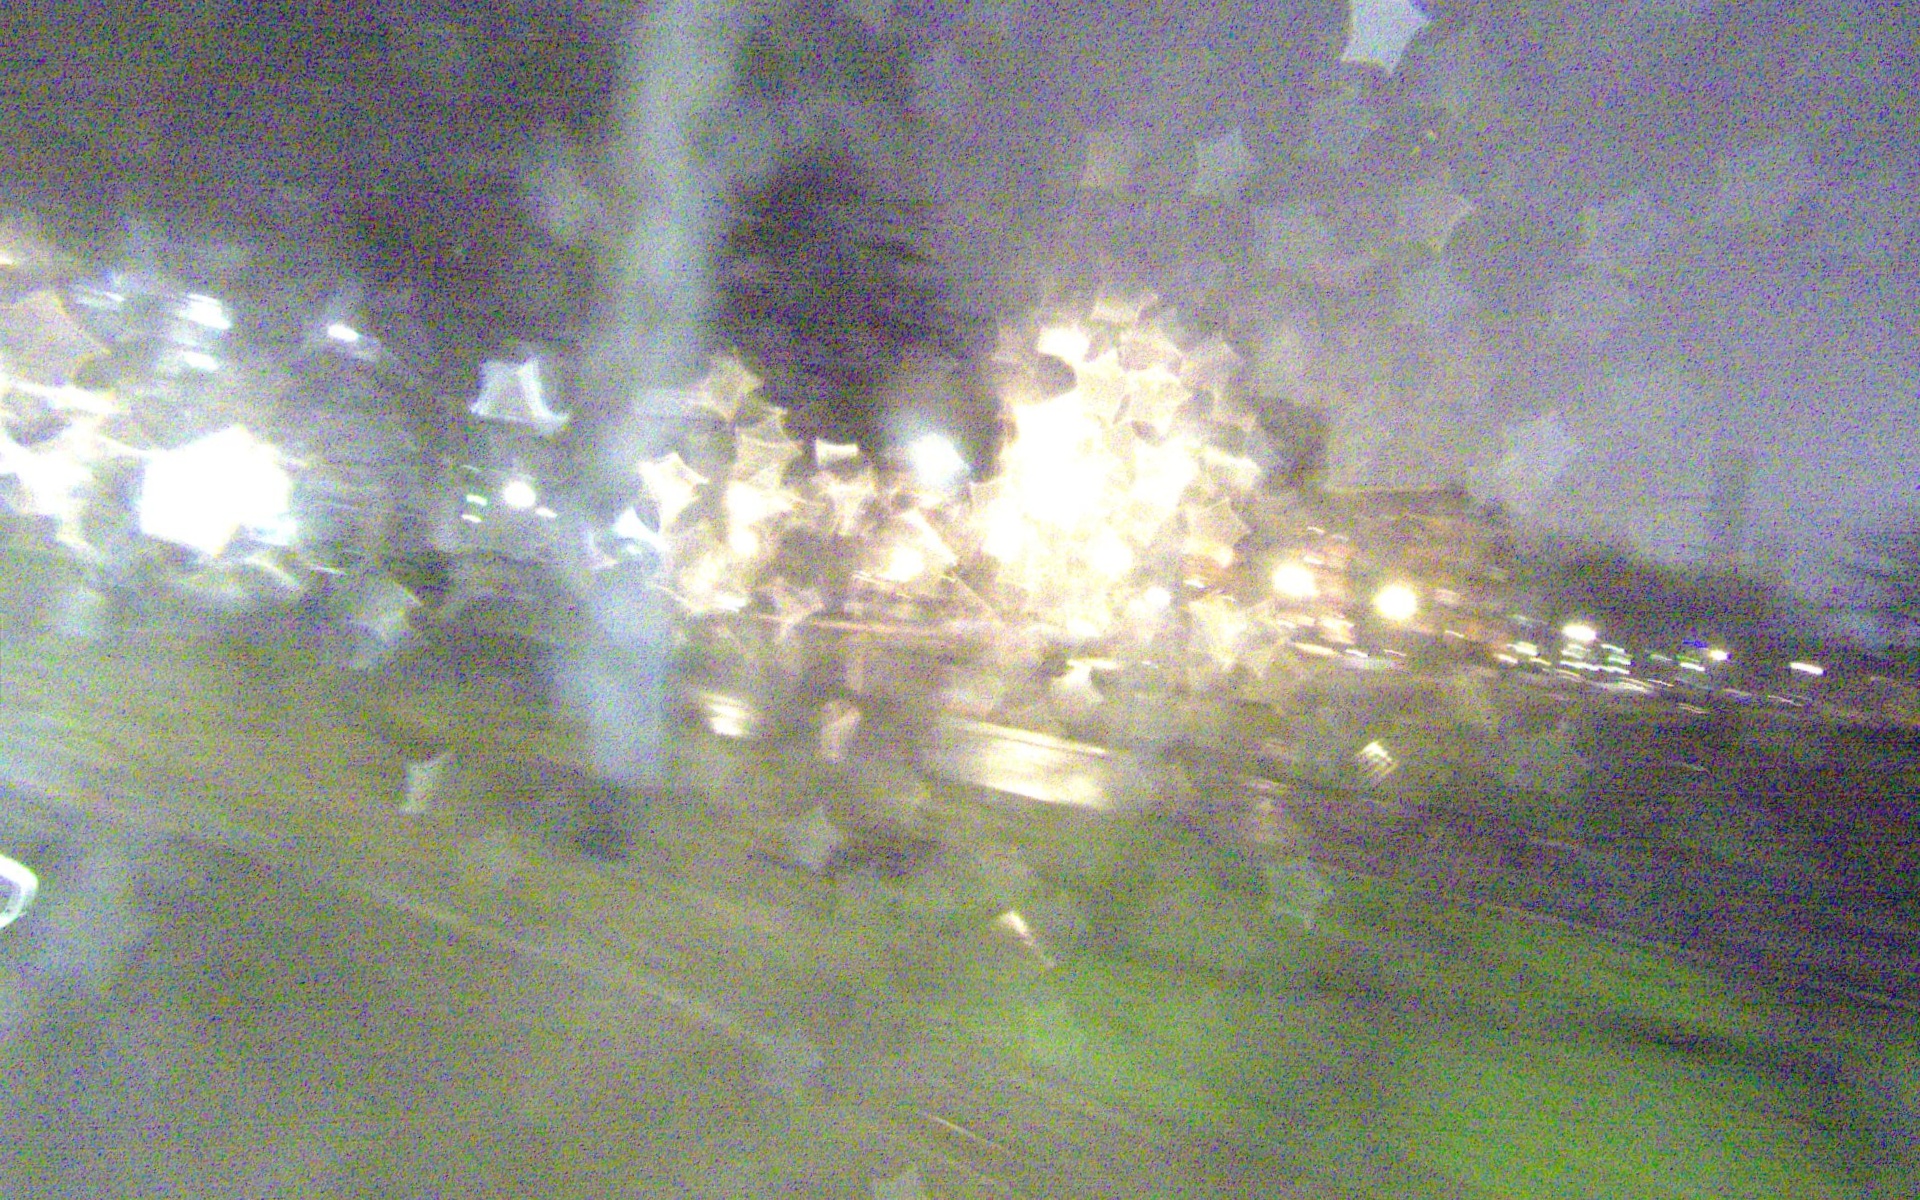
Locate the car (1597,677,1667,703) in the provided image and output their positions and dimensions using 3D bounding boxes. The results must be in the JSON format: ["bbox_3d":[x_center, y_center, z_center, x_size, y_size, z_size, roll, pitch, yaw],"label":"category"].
[{"bbox_3d":[52.624,7.065,78.832,1.706,1.391,4.111,7,-1,-34],"label":"car"}]

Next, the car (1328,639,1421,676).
[{"bbox_3d":[24.974,3.450,60.746,1.706,1.555,4.949,7,-1,-34],"label":"car"}]

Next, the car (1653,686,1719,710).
[{"bbox_3d":[61.019,8.229,84.605,1.706,1.391,4.111,7,-1,-34],"label":"car"}]

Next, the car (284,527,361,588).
[{"bbox_3d":[-19.145,-1.302,30.154,1.706,1.515,3.876,7,-1,-34],"label":"car"}]

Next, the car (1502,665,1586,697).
[{"bbox_3d":[42.459,5.884,73.262,1.706,1.555,4.949,7,-1,-34],"label":"car"}]

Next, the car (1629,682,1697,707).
[{"bbox_3d":[57.286,7.712,82.068,1.706,1.391,4.111,7,-1,-34],"label":"car"}]

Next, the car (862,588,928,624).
[{"bbox_3d":[-3.549,0.309,54.357,1.706,1.555,3.876,7,-1,-34],"label":"car"}]

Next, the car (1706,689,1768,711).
[{"bbox_3d":[71.308,9.186,92.373,1.706,1.391,4.111,7,-1,-34],"label":"car"}]

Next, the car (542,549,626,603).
[{"bbox_3d":[-12.880,-0.850,34.305,1.706,1.515,3.876,7,-1,-34],"label":"car"}]

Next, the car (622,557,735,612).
[{"bbox_3d":[-11.610,-0.624,41.561,4.028,1.702,1.777,8,0,-33],"label":"car"}]

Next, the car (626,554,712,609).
[{"bbox_3d":[-10.381,-0.687,35.717,1.706,1.555,3.876,7,-1,-34],"label":"car"}]

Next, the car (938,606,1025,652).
[{"bbox_3d":[0.895,1.230,43.792,1.706,1.555,3.876,7,-1,-34],"label":"car"}]

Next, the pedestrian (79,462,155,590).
[{"bbox_3d":[-13.502,-1.184,16.111,0.718,1.925,0.651,7,1,39],"label":"pedestrian"}]

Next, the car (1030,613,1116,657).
[{"bbox_3d":[5.197,1.608,46.687,1.706,1.555,3.876,7,-1,-34],"label":"car"}]

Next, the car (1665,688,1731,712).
[{"bbox_3d":[63.431,8.567,86.518,1.706,1.391,4.111,7,-1,-34],"label":"car"}]

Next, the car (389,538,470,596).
[{"bbox_3d":[-16.528,-0.972,31.270,1.705,1.514,3.879,6,-3,-34],"label":"car"}]
